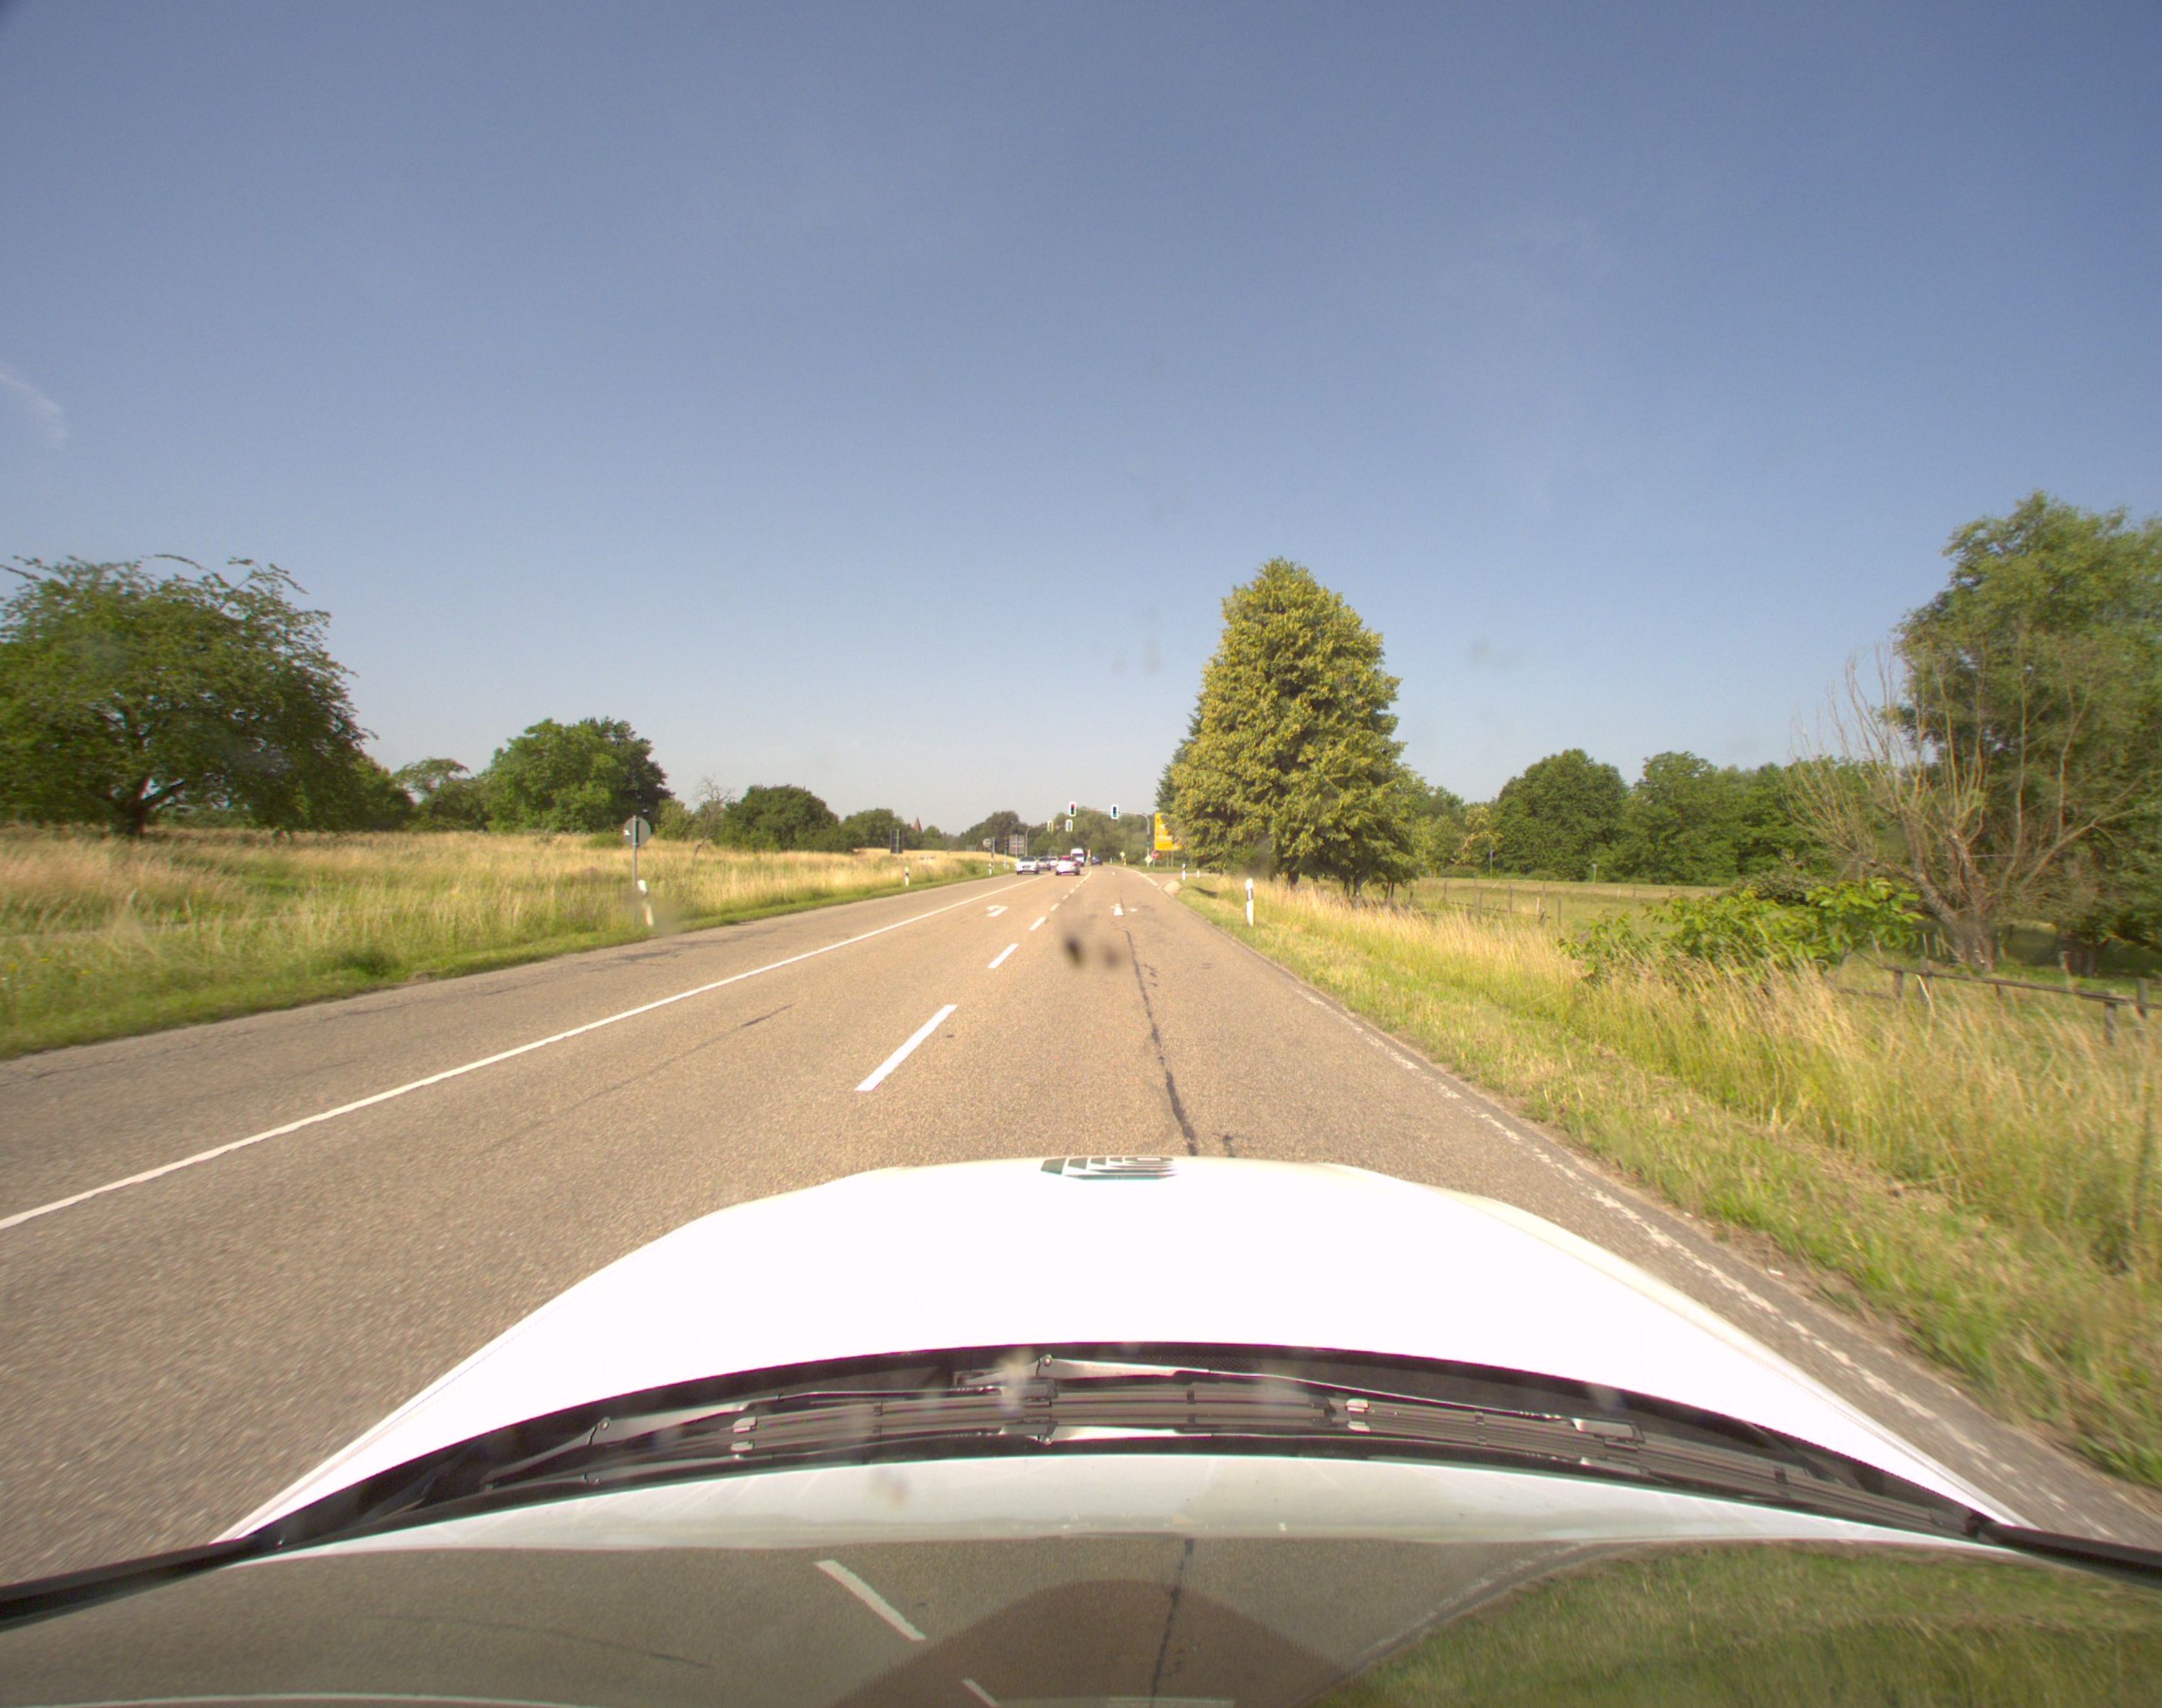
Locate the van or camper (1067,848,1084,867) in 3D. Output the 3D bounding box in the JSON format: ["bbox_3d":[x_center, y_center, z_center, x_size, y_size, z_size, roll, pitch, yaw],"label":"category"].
[{"bbox_3d":[-0.788,0.504,122.069,2.256,2.709,5.265,3,0,2],"label":"van or camper"}]

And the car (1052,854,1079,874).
[{"bbox_3d":[-1.236,0.788,66.788,1.891,1.512,4.003,3,0,3],"label":"car"}]

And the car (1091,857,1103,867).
[{"bbox_3d":[2.570,1.287,132.784,1.809,1.520,4.002,3,0,2],"label":"car"}]

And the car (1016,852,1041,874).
[{"bbox_3d":[-4.639,0.773,71.951,1.585,1.728,4.005,3,0,4],"label":"car"}]

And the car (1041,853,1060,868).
[{"bbox_3d":[-3.980,0.828,106.636,1.924,1.728,4.005,3,0,4],"label":"car"}]

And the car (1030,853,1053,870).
[{"bbox_3d":[-4.435,0.827,91.746,1.924,1.728,4.005,3,0,4],"label":"car"}]
